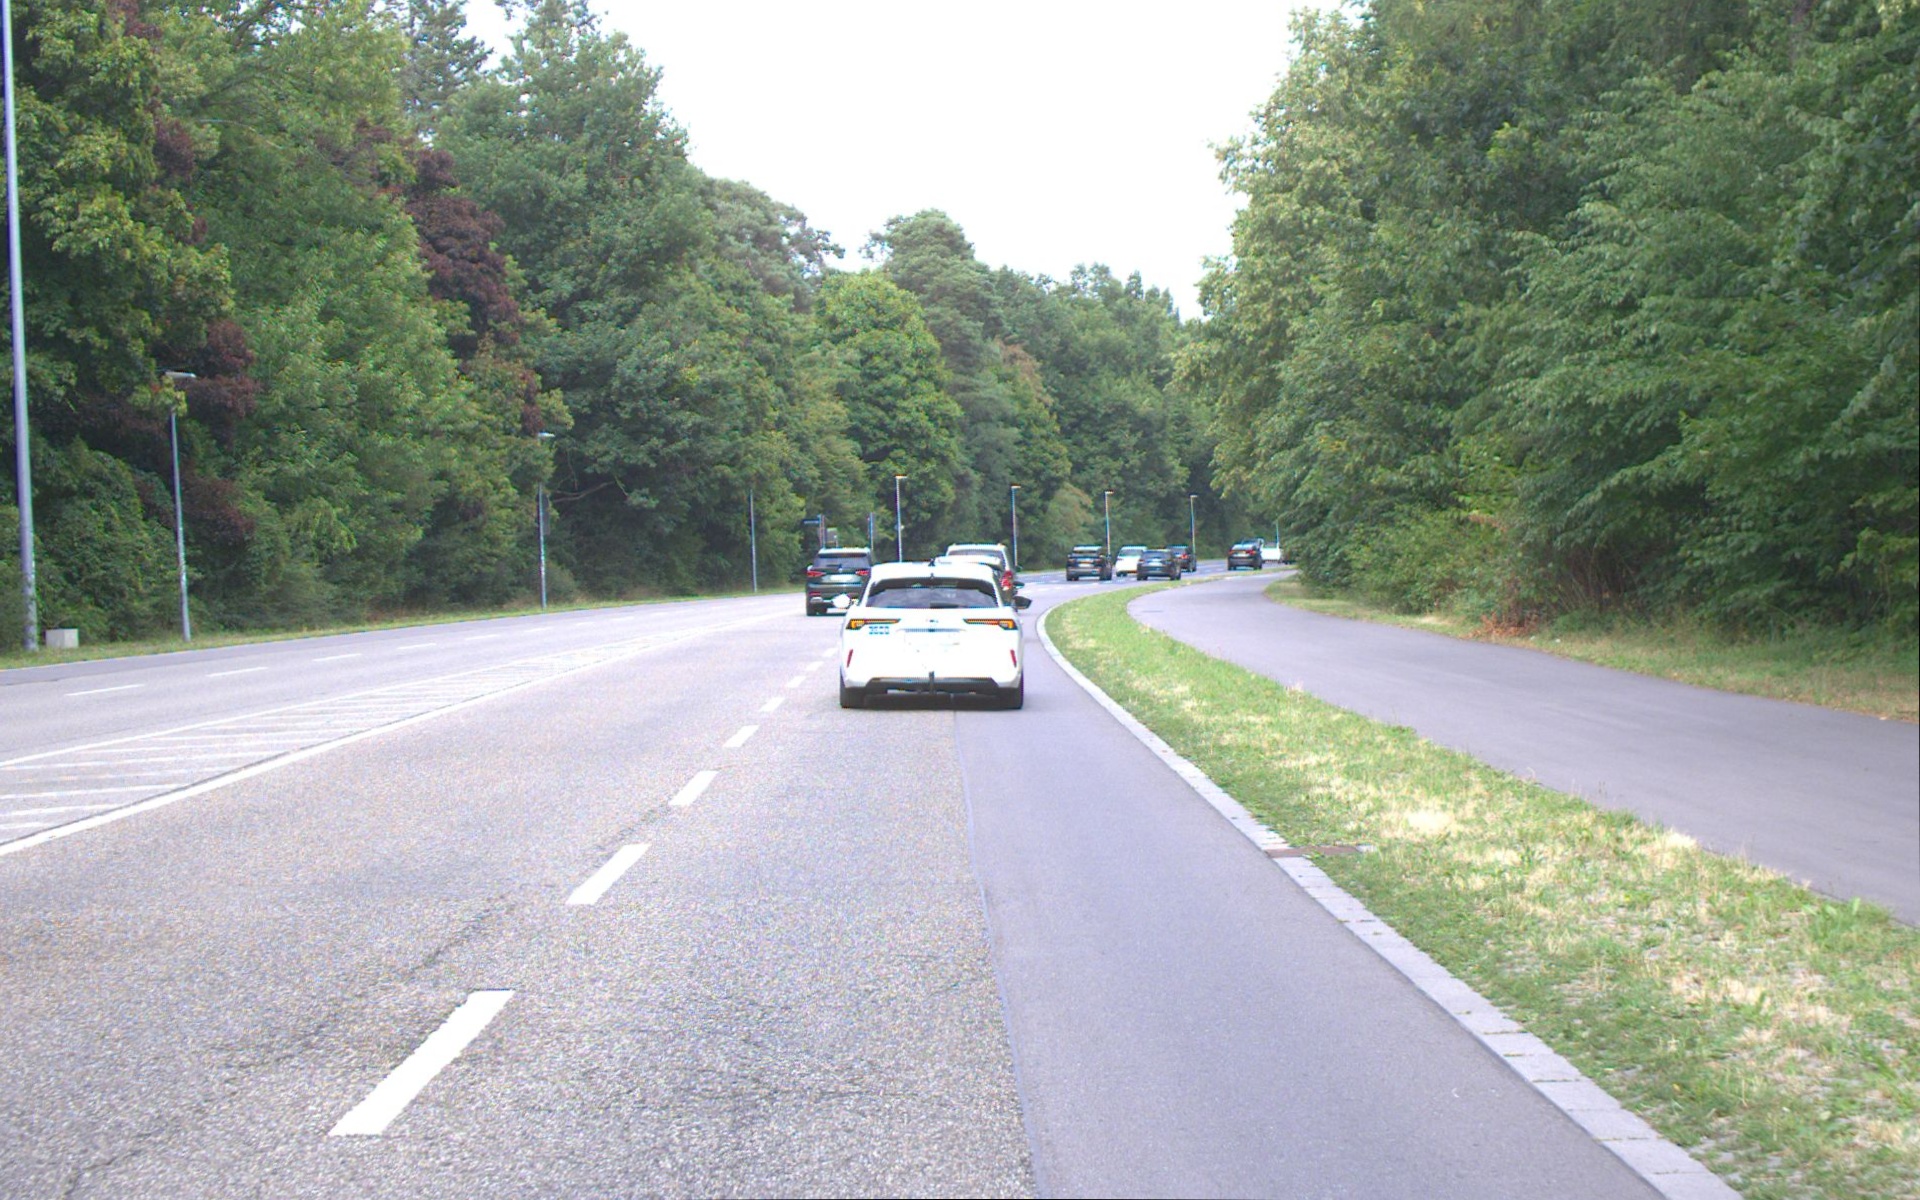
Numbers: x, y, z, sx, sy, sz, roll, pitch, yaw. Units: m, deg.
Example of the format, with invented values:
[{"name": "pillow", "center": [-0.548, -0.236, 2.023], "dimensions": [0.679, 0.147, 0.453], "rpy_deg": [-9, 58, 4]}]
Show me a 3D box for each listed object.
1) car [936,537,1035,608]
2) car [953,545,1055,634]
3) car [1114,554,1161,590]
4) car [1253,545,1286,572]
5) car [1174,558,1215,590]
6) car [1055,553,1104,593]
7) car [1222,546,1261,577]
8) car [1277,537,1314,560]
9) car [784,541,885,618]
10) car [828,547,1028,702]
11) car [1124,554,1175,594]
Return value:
[{"name": "car", "center": [0.630, -0.637, 81.679], "dimensions": [1.994, 1.601, 3.999], "rpy_deg": [1, 0, 5]}, {"name": "car", "center": [0.767, -0.167, 58.362], "dimensions": [1.635, 1.415, 4.000], "rpy_deg": [1, 0, 1]}, {"name": "car", "center": [9.344, -1.482, 180.759], "dimensions": [1.994, 1.777, 3.998], "rpy_deg": [1, 0, 10]}, {"name": "car", "center": [22.178, -2.951, 246.439], "dimensions": [1.889, 1.810, 3.998], "rpy_deg": [1, 0, 11]}, {"name": "car", "center": [13.643, -1.516, 199.649], "dimensions": [1.994, 1.777, 3.998], "rpy_deg": [1, 0, 9]}, {"name": "car", "center": [5.639, -1.257, 162.010], "dimensions": [1.994, 1.777, 3.999], "rpy_deg": [1, 0, 6]}, {"name": "car", "center": [16.902, -2.291, 206.353], "dimensions": [1.994, 1.777, 3.998], "rpy_deg": [1, 0, 8]}, {"name": "car", "center": [22.637, -3.468, 232.048], "dimensions": [1.994, 1.404, 3.998], "rpy_deg": [1, 0, 12]}, {"name": "car", "center": [-2.993, -0.474, 82.801], "dimensions": [1.994, 1.780, 3.999], "rpy_deg": [1, 0, 4]}, {"name": "car", "center": [-0.346, 0.235, 34.436], "dimensions": [1.836, 1.405, 4.491], "rpy_deg": [1, 0, -1]}, {"name": "car", "center": [8.928, -1.217, 161.356], "dimensions": [1.994, 1.777, 3.998], "rpy_deg": [1, 0, 8]}]
